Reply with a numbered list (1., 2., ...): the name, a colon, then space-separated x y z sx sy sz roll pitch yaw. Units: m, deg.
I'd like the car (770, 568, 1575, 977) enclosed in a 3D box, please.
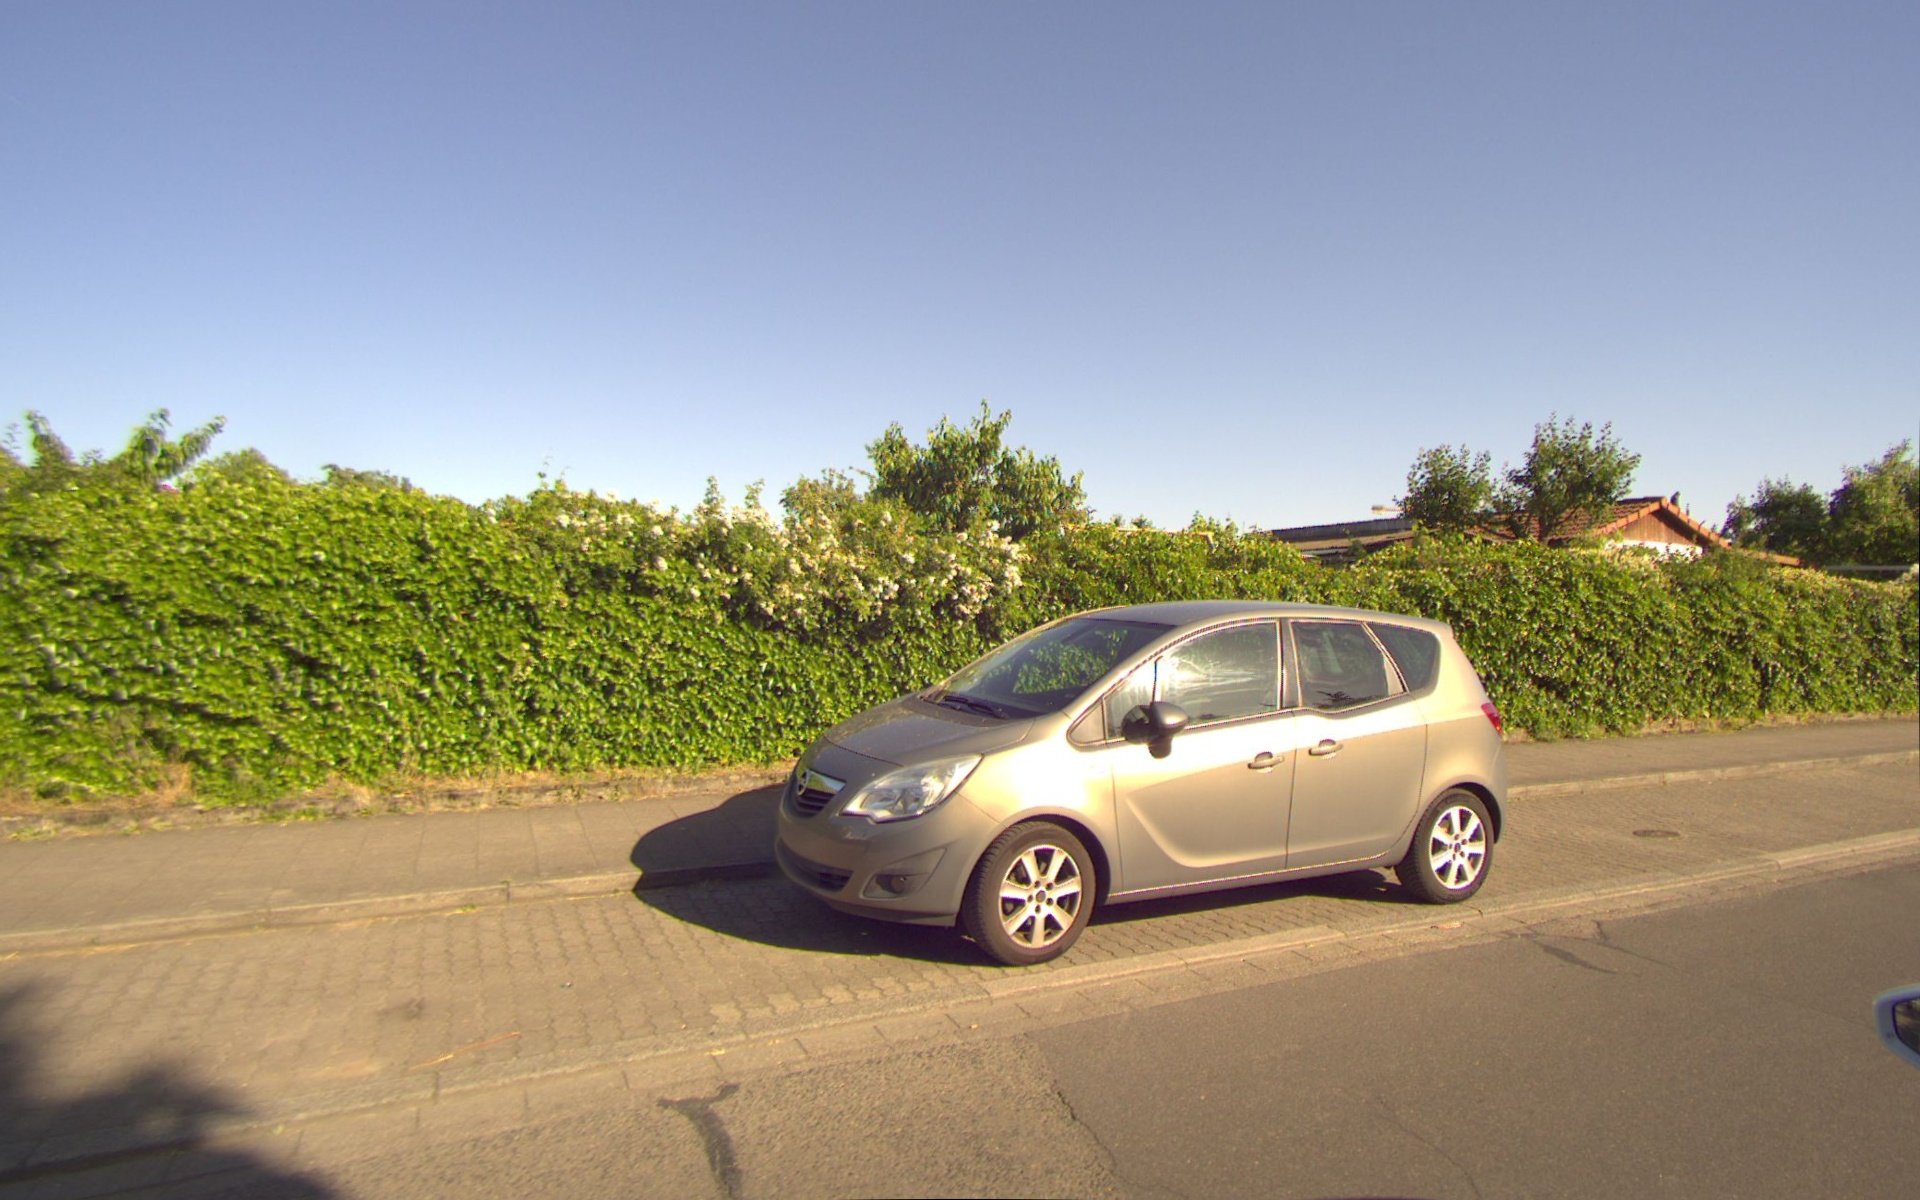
1. car: 1.237 0.730 5.607 4.251 1.621 1.639 1 0 -24
